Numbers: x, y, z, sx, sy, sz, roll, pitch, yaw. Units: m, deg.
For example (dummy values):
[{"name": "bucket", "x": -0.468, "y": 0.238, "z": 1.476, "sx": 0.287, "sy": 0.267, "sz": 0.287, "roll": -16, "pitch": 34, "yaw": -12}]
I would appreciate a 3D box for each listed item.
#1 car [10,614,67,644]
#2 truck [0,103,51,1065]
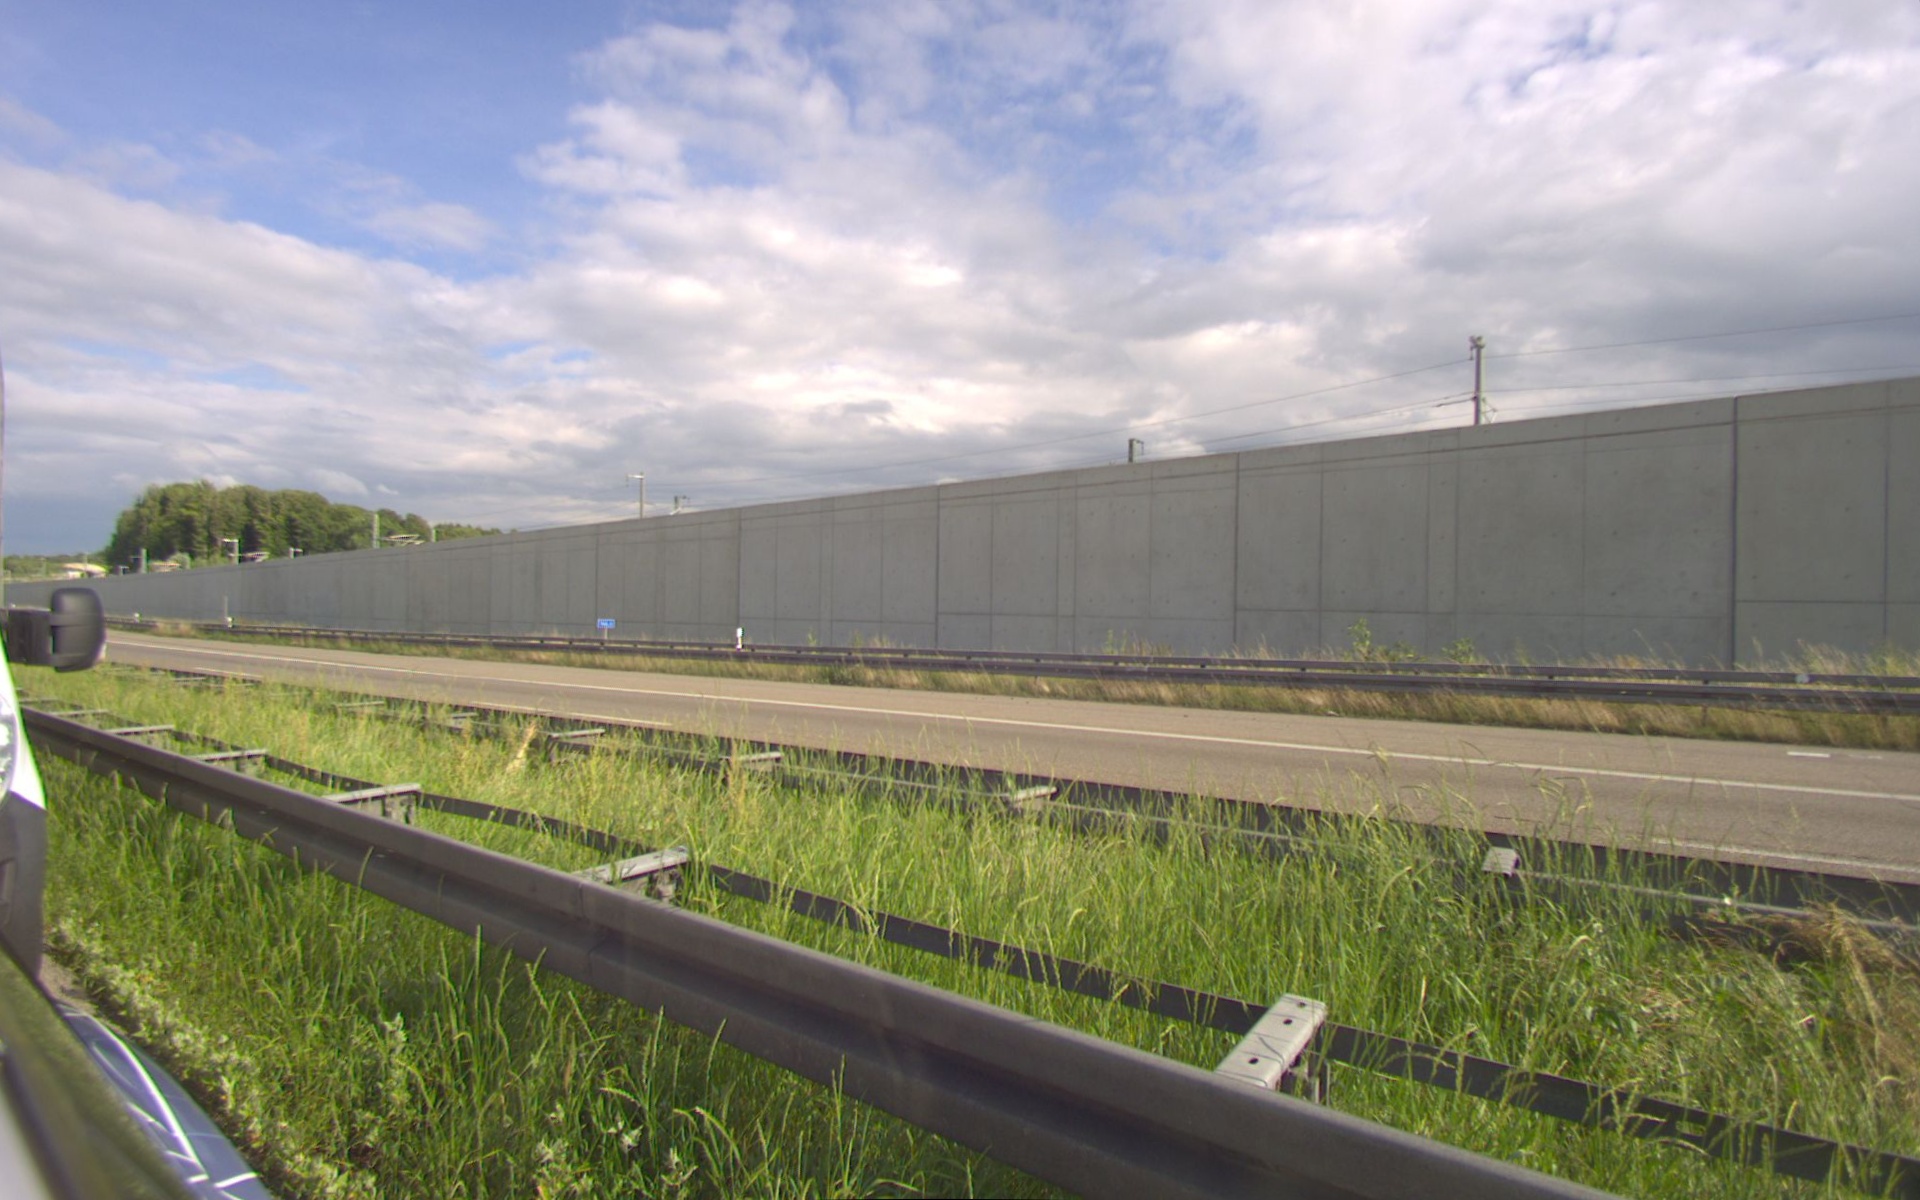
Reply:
[{"name": "car", "x": -52.809, "y": 1.634, "z": 57.982, "sx": 4.117, "sy": 1.608, "sz": 1.973, "roll": -1, "pitch": 0, "yaw": 41}, {"name": "truck", "x": -6.633, "y": -0.019, "z": 5.185, "sx": 7.800, "sy": 3.129, "sz": 2.033, "roll": -1, "pitch": 0, "yaw": 41}]
